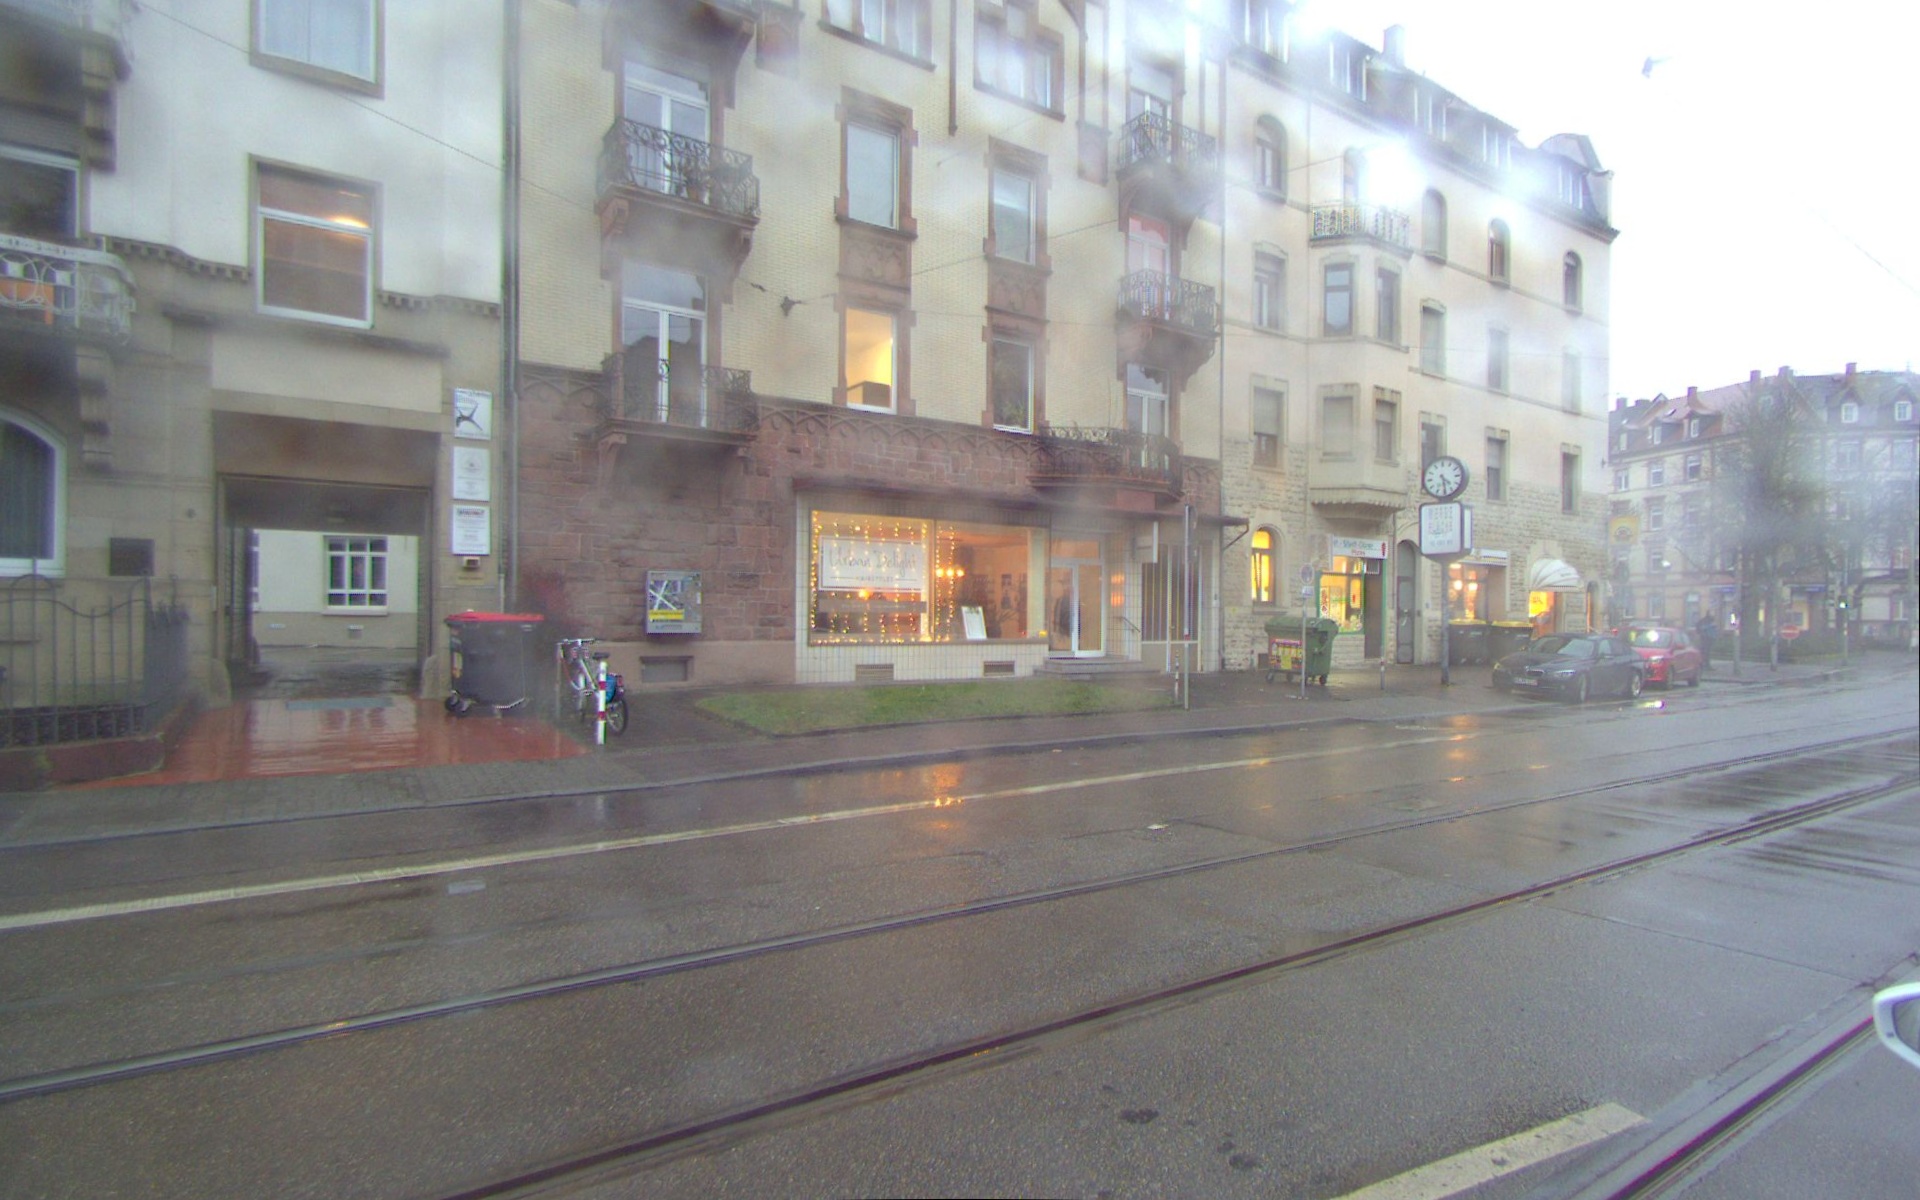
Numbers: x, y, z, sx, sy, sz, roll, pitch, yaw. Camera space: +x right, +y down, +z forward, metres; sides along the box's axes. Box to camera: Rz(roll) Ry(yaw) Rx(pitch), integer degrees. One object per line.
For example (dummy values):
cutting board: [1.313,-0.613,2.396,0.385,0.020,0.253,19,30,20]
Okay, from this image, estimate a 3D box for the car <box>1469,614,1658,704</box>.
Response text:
car: [13.758,1.297,22.811,4.587,1.667,1.972,2,3,-37]

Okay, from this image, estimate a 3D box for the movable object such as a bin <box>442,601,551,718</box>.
movable object such as a bin: [-6.073,0.743,13.143,1.155,1.398,1.096,1,2,-32]

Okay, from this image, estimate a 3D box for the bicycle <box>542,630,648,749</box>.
bicycle: [-4.314,0.980,11.753,0.687,1.120,2.336,1,1,-32]

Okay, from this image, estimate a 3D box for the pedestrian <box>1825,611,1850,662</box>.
pedestrian: [35.516,1.459,40.673,0.695,2.040,0.658,0,0,37]

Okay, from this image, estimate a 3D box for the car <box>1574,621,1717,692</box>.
car: [18.283,1.426,26.757,3.997,1.573,2.021,0,3,-39]

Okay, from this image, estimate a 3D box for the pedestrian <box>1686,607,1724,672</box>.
pedestrian: [23.801,1.255,32.112,0.635,2.040,0.758,1,0,3]

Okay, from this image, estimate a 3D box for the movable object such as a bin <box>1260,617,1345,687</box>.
movable object such as a bin: [7.452,1.104,21.889,1.236,1.439,1.260,1,0,-33]

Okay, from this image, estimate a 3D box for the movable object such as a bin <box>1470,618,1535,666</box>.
movable object such as a bin: [16.338,1.254,30.249,1.239,1.385,1.286,1,0,-34]

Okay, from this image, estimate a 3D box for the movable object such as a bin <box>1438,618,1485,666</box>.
movable object such as a bin: [14.941,1.235,29.928,0.996,1.396,0.893,1,0,-33]
